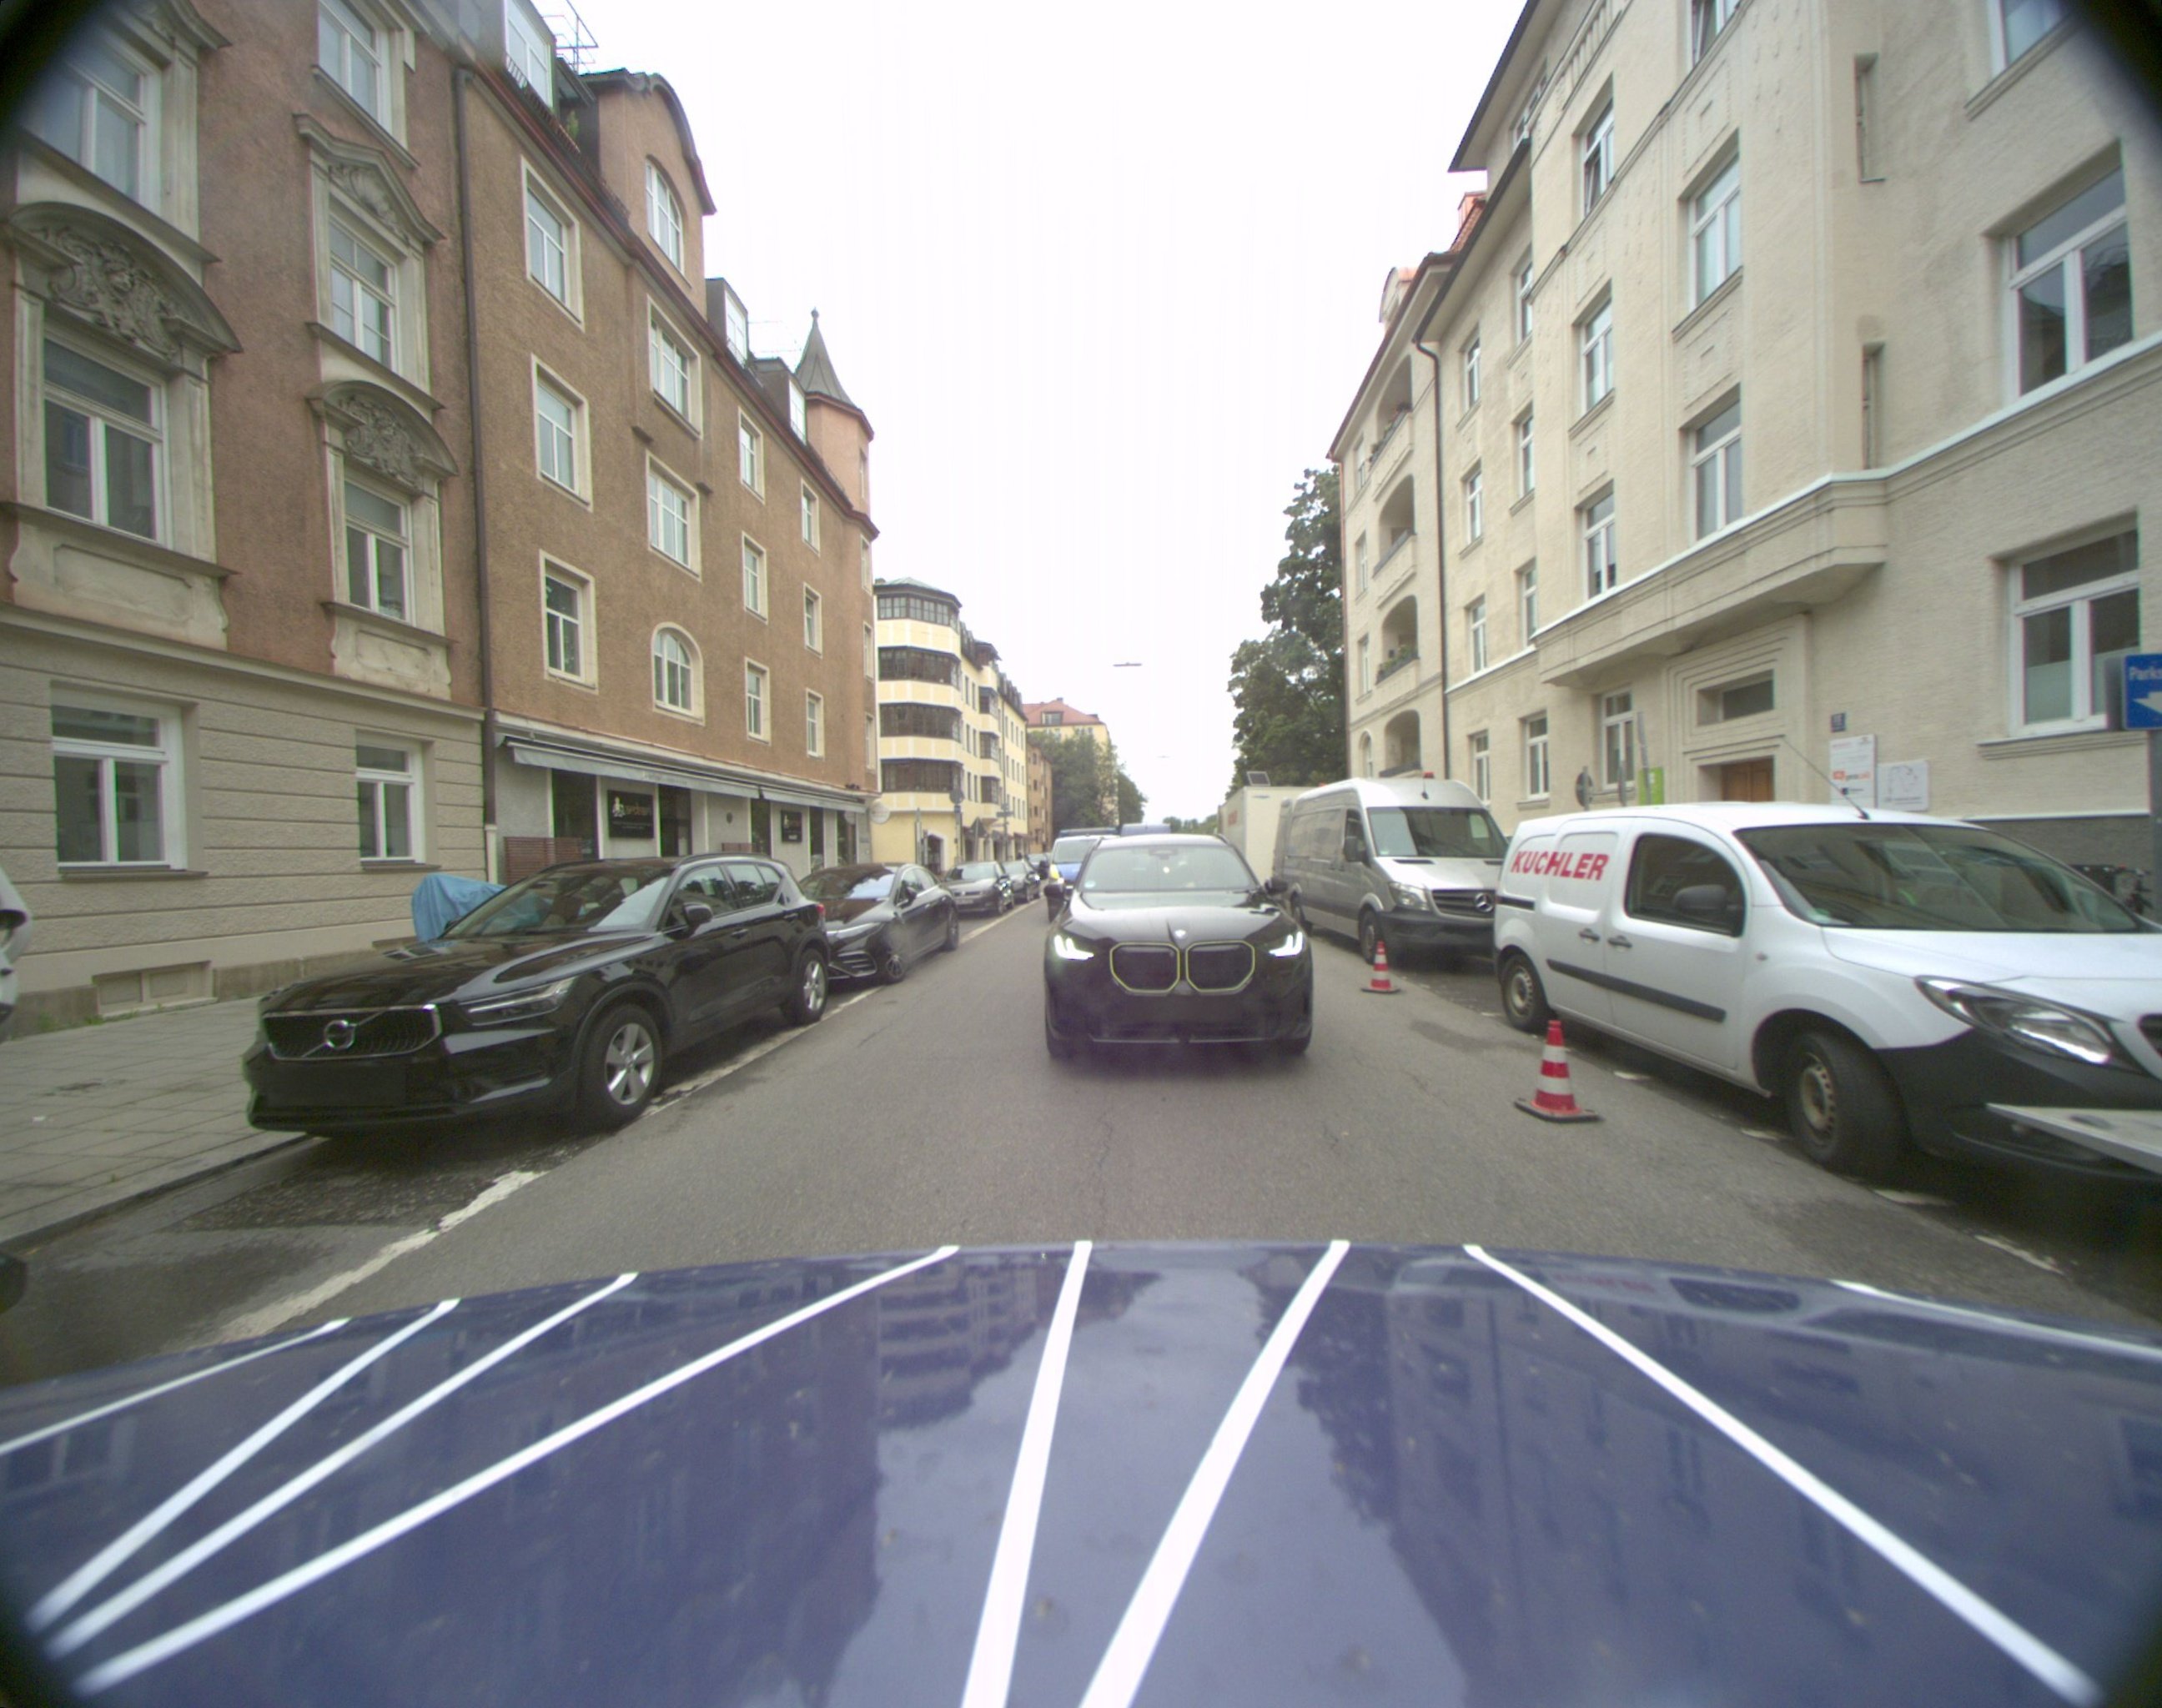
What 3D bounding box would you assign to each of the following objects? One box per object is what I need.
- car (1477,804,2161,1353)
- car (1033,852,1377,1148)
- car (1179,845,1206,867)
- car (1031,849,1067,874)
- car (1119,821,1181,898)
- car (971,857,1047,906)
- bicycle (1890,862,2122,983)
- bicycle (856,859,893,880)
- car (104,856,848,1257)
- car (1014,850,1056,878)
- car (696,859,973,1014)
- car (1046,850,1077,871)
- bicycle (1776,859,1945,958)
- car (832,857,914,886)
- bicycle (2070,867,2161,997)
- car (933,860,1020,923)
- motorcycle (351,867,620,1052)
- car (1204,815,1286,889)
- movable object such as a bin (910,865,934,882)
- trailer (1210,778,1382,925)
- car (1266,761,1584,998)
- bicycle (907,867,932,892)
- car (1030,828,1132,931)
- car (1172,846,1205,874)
[{"bbox_3d":[4.258,0.702,4.546,1.767,1.768,4.327,0,1,4],"label":"car"},{"bbox_3d":[0.722,0.824,6.429,1.921,1.557,4.293,-1,1,0],"label":"car"},{"bbox_3d":[8.270,0.128,56.276,1.816,1.455,4.166,3,2,9],"label":"car"},{"bbox_3d":[-2.256,0.508,54.697,1.816,1.580,4.165,3,2,7],"label":"car"},{"bbox_3d":[2.607,0.107,28.377,2.005,2.477,6.234,-2,1,6],"label":"car"},{"bbox_3d":[-2.357,0.862,26.061,1.851,1.397,4.788,-2,1,3],"label":"car"},{"bbox_3d":[9.690,0.660,8.067,0.429,1.098,1.736,-2,1,3],"label":"bicycle"},{"bbox_3d":[-11.843,0.903,43.591,1.904,1.180,0.515,-1,1,4],"label":"bicycle"},{"bbox_3d":[-3.486,0.961,5.703,1.697,1.667,4.408,-5,1,4],"label":"car"},{"bbox_3d":[-2.913,0.620,49.488,2.111,1.613,4.497,-1,1,4],"label":"car"},{"bbox_3d":[-3.085,0.924,11.076,1.935,1.544,5.637,-2,0,2],"label":"car"},{"bbox_3d":[-1.480,0.486,59.768,1.763,1.514,3.934,0,1,9],"label":"car"},{"bbox_3d":[9.758,0.634,9.602,0.429,1.098,1.743,-2,1,3],"label":"bicycle"},{"bbox_3d":[-10.950,0.924,40.133,3.741,1.431,1.753,-1,-2,8],"label":"car"},{"bbox_3d":[9.611,0.697,6.320,0.402,1.098,1.864,-2,1,3],"label":"bicycle"},{"bbox_3d":[-2.714,0.930,20.608,1.576,1.386,4.182,-1,1,2],"label":"car"},{"bbox_3d":[-5.640,0.915,7.411,0.873,1.496,1.997,-2,1,5],"label":"motorcycle"},{"bbox_3d":[6.361,-0.107,30.318,2.146,2.557,6.796,-2,0,4],"label":"car"},{"bbox_3d":[-8.718,1.057,41.731,1.125,0.895,0.684,-1,1,5],"label":"movable object such as a bin"},{"bbox_3d":[5.054,-0.046,19.437,2.809,2.952,7.602,2,0,5],"label":"trailer"},{"bbox_3d":[4.675,0.255,11.950,2.060,2.572,6.877,3,1,3],"label":"car"},{"bbox_3d":[-6.682,1.042,31.493,0.496,0.999,1.804,0,0,6],"label":"bicycle"},{"bbox_3d":[0.181,0.511,18.715,1.826,2.087,5.635,-3,0,6],"label":"car"},{"bbox_3d":[6.691,0.338,47.271,1.816,1.580,4.166,3,2,8],"label":"car"}]
